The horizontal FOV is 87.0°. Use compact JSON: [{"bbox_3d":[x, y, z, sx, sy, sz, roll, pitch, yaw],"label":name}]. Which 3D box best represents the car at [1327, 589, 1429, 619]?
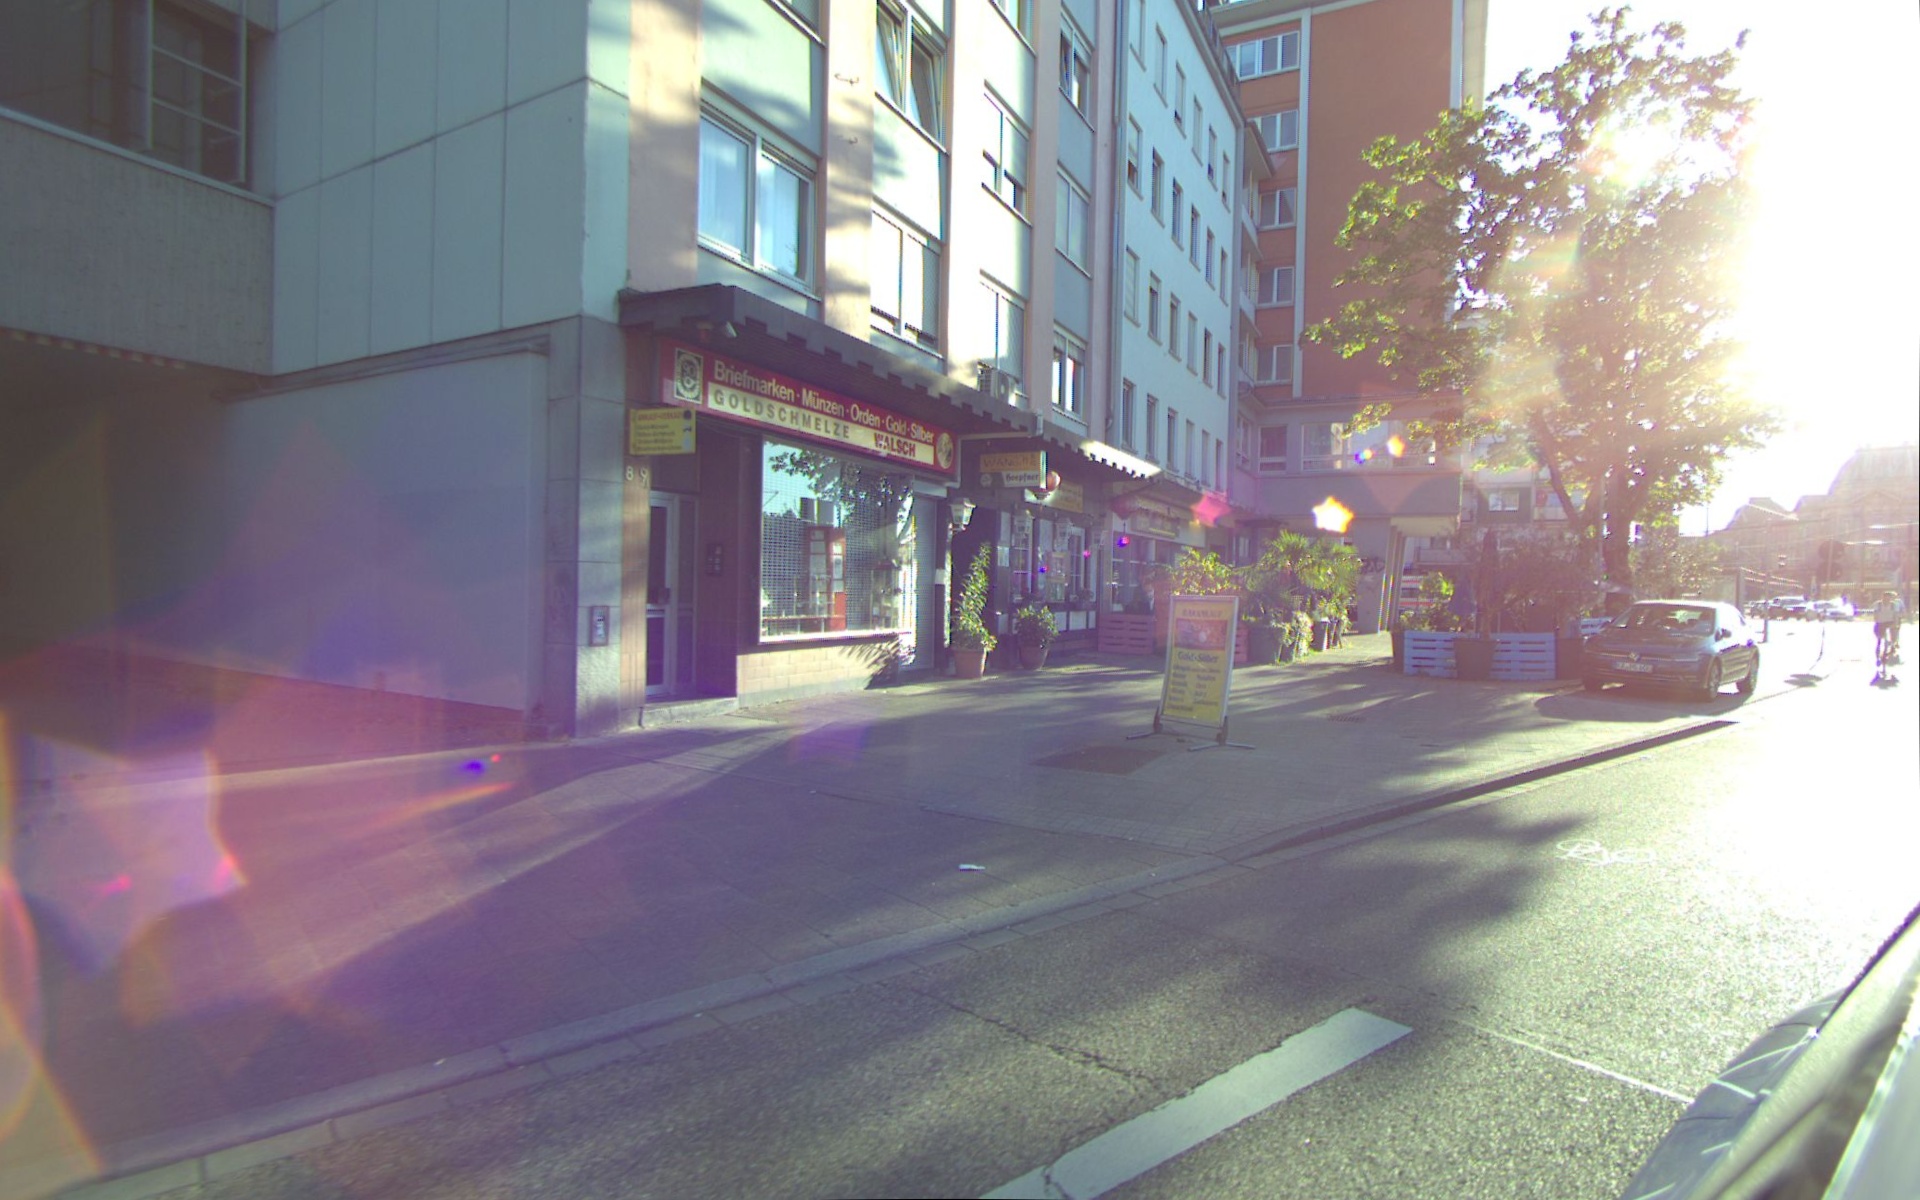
[{"bbox_3d":[21.256,0.183,51.516,4.635,1.358,1.821,1,1,29],"label":"car"}]

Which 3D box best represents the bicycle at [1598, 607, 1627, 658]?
[{"bbox_3d":[15.648,0.769,24.283,0.418,1.172,1.738,1,0,28],"label":"bicycle"}]

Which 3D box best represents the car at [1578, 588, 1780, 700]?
[{"bbox_3d":[11.579,0.621,16.215,3.831,1.490,1.732,0,3,-41],"label":"car"}]

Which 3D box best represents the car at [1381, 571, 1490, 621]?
[{"bbox_3d":[25.653,-0.247,54.705,5.217,2.514,1.907,1,0,28],"label":"car"}]

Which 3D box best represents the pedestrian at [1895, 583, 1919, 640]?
[{"bbox_3d":[28.498,0.335,30.341,0.637,1.669,0.831,0,0,39],"label":"pedestrian"}]

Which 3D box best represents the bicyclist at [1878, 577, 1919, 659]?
[{"bbox_3d":[21.794,0.402,23.487,0.673,1.830,0.979,1,0,41],"label":"bicyclist"}]

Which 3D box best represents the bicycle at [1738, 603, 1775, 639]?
[{"bbox_3d":[26.866,0.706,34.170,0.641,1.141,1.855,1,0,28],"label":"bicycle"}]

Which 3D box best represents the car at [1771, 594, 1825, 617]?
[{"bbox_3d":[64.575,0.413,78.066,1.935,1.734,4.812,-1,0,24],"label":"car"}]

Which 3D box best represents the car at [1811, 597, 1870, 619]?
[{"bbox_3d":[61.669,0.541,70.956,1.823,1.418,4.547,-1,0,24],"label":"car"}]

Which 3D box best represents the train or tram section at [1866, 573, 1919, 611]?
[{"bbox_3d":[94.744,-0.795,101.113,2.754,3.580,13.133,1,1,26],"label":"train or tram section"}]

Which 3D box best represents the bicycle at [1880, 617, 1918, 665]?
[{"bbox_3d":[21.744,0.928,23.444,0.575,1.041,1.829,1,0,41],"label":"bicycle"}]

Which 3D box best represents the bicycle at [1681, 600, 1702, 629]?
[{"bbox_3d":[27.317,0.523,37.814,0.518,0.993,1.828,1,2,33],"label":"bicycle"}]

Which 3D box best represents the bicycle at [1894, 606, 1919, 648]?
[{"bbox_3d":[28.531,0.794,30.419,0.527,1.173,1.823,0,0,38],"label":"bicycle"}]

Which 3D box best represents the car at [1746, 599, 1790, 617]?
[{"bbox_3d":[66.870,0.619,83.788,1.796,1.418,3.888,-1,0,23],"label":"car"}]

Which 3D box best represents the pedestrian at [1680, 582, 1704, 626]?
[{"bbox_3d":[27.362,0.147,37.833,0.673,1.609,0.752,1,2,33],"label":"pedestrian"}]

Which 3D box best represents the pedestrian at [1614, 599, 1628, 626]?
[{"bbox_3d":[40.696,0.778,62.339,0.678,1.609,0.738,1,0,32],"label":"pedestrian"}]

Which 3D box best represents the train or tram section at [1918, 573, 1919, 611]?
[{"bbox_3d":[89.618,-0.695,90.421,2.754,3.580,10.476,1,1,26],"label":"train or tram section"}]

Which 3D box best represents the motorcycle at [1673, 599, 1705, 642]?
[{"bbox_3d":[22.318,0.597,30.997,0.663,1.258,2.175,1,0,33],"label":"motorcycle"}]

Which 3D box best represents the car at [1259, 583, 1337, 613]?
[{"bbox_3d":[19.294,-0.141,57.857,4.045,1.590,1.582,2,0,27],"label":"car"}]
